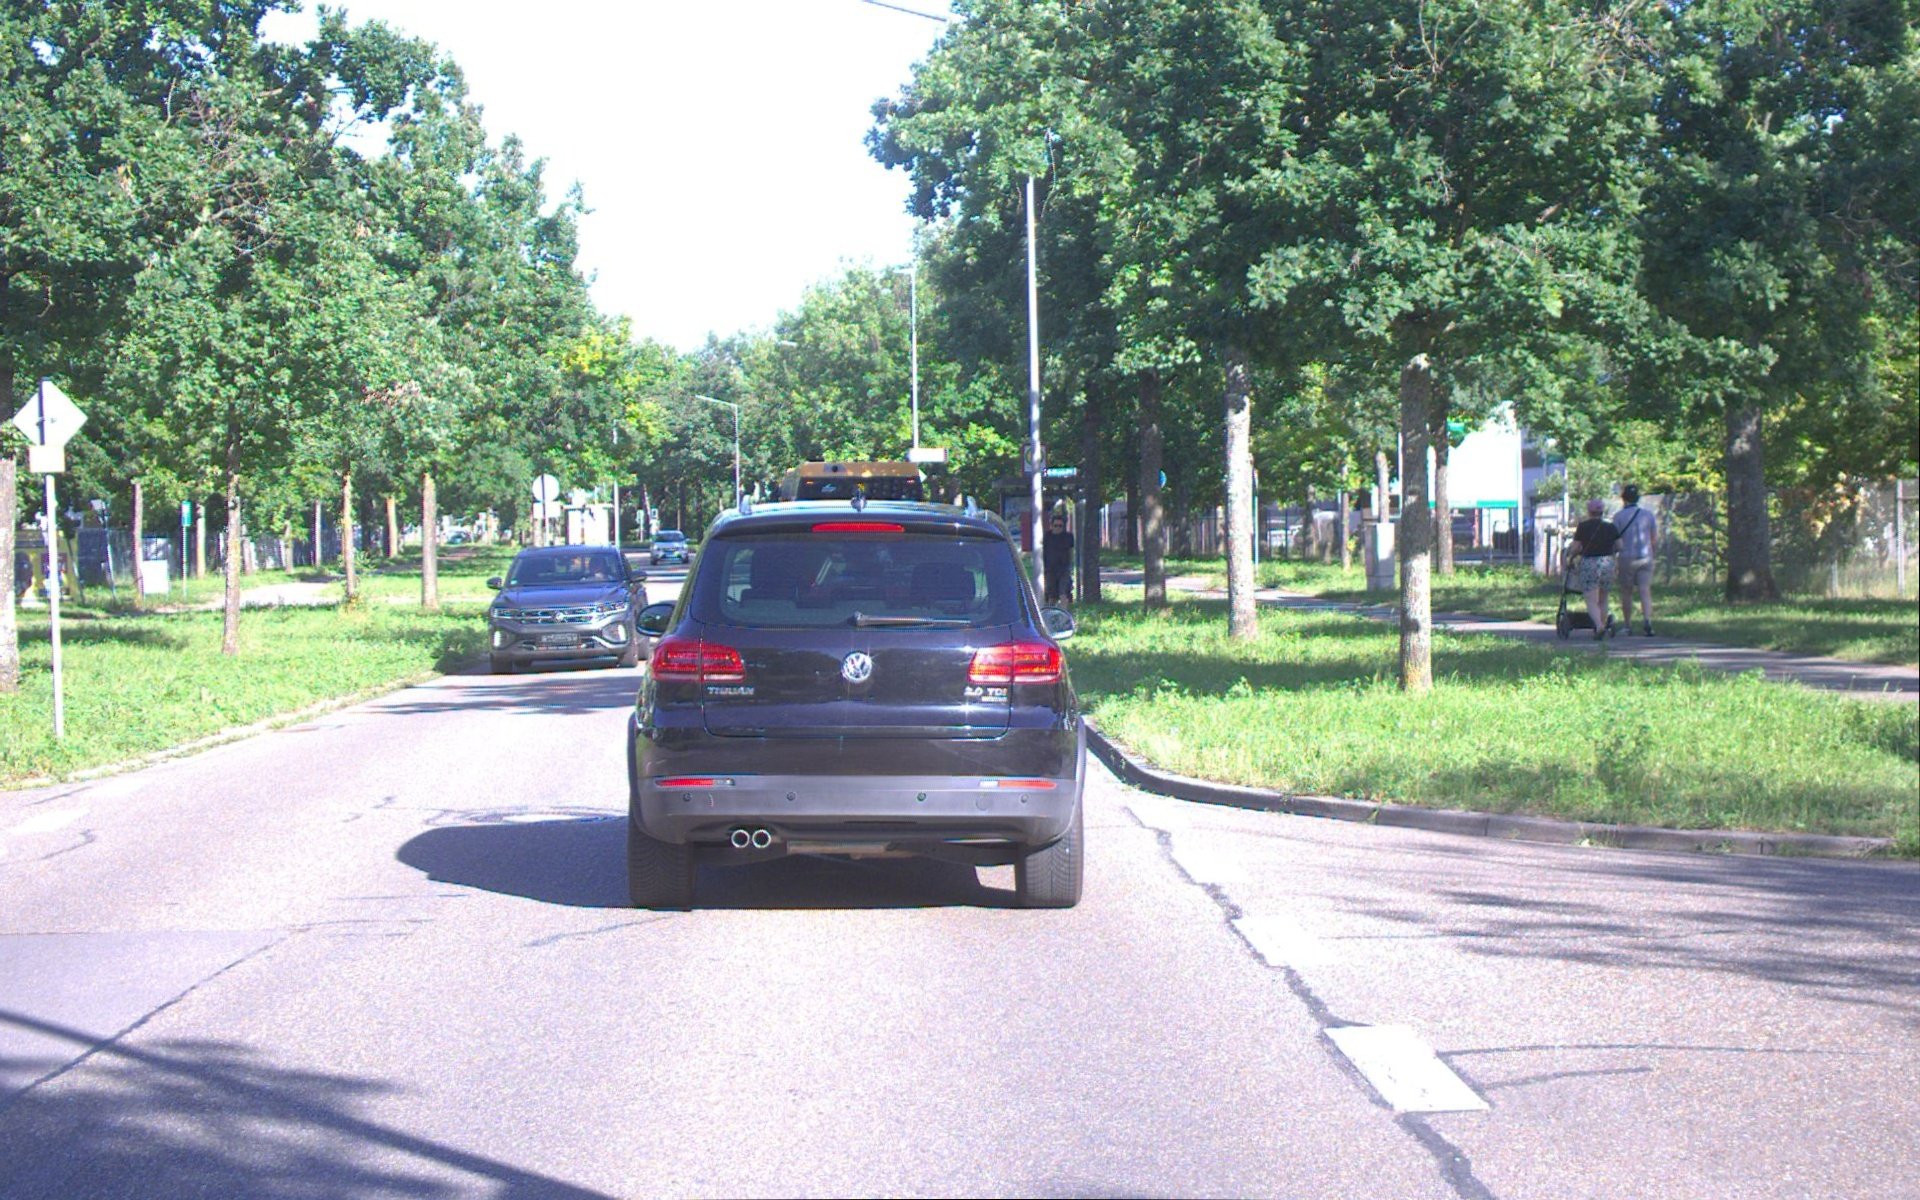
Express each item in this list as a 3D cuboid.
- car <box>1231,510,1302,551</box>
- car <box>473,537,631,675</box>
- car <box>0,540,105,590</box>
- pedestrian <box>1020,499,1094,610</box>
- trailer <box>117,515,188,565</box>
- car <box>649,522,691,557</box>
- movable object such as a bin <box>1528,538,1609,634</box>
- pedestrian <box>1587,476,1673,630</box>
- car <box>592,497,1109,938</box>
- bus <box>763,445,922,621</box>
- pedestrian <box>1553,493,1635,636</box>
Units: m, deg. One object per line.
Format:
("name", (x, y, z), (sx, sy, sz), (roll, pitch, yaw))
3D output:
("car", (13.703, -3.122, 153.934), (2.184, 1.738, 4.643), (-1, 1, -7))
("car", (-5.072, 0.031, 43.061), (1.804, 1.531, 4.496), (-3, 2, -6))
("car", (-29.180, -1.078, 107.204), (4.501, 1.474, 1.941), (-1, 1, 3))
("pedestrian", (1.459, -0.696, 51.943), (1.019, 1.646, 1.100), (-1, 1, -2))
("trailer", (-31.807, -2.362, 135.506), (2.102, 1.908, 3.741), (-1, 1, -4))
("car", (-13.006, -2.719, 154.240), (1.744, 1.460, 4.428), (-2, 2, -4))
("movable object such as a bin", (7.102, -0.167, 40.142), (0.725, 1.077, 0.868), (-3, 1, -2))
("pedestrian", (7.843, -0.550, 40.278), (0.725, 1.749, 0.868), (-3, 1, -2))
("car", (-0.491, 0.385, 15.176), (1.936, 1.650, 4.428), (1, 2, -2))
("bus", (-2.647, -1.473, 73.803), (2.764, 3.444, 11.213), (-1, 1, -5))
("pedestrian", (7.240, -0.409, 39.264), (0.725, 1.597, 0.868), (-1, 1, -2))
